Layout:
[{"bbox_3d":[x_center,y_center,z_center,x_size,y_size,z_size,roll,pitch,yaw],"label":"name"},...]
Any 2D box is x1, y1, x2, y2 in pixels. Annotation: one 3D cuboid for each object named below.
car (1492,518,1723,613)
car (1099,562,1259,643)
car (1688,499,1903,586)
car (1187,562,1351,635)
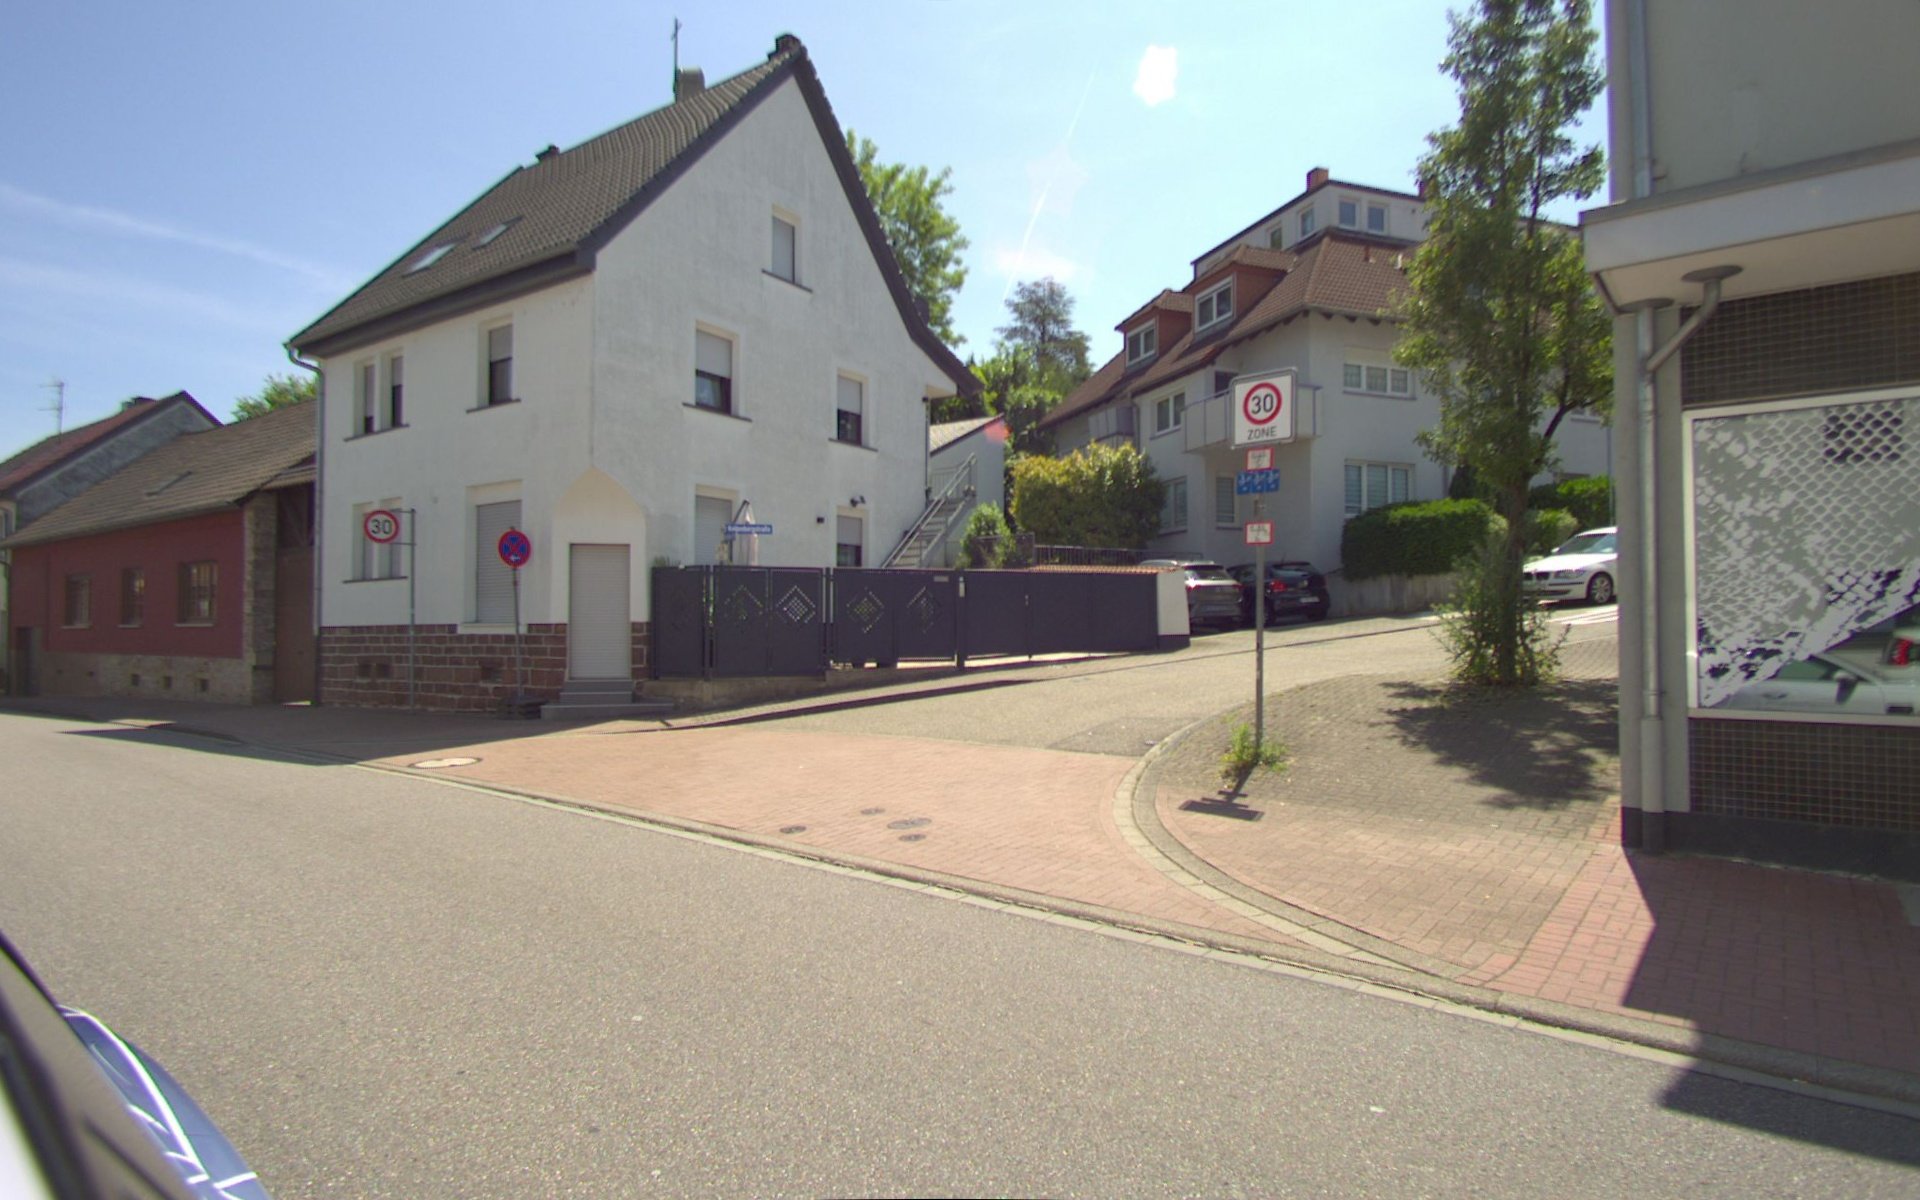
[{"bbox_3d":[12.915,-0.690,20.227,3.856,1.417,1.851,-7,2,-20],"label":"car"},{"bbox_3d":[4.687,0.041,22.216,1.757,1.547,3.782,-3,1,-17],"label":"car"},{"bbox_3d":[18.136,-1.232,21.997,3.856,1.417,1.851,-7,2,-20],"label":"car"},{"bbox_3d":[7.007,-0.035,23.355,1.757,1.477,3.782,-3,1,-17],"label":"car"}]
